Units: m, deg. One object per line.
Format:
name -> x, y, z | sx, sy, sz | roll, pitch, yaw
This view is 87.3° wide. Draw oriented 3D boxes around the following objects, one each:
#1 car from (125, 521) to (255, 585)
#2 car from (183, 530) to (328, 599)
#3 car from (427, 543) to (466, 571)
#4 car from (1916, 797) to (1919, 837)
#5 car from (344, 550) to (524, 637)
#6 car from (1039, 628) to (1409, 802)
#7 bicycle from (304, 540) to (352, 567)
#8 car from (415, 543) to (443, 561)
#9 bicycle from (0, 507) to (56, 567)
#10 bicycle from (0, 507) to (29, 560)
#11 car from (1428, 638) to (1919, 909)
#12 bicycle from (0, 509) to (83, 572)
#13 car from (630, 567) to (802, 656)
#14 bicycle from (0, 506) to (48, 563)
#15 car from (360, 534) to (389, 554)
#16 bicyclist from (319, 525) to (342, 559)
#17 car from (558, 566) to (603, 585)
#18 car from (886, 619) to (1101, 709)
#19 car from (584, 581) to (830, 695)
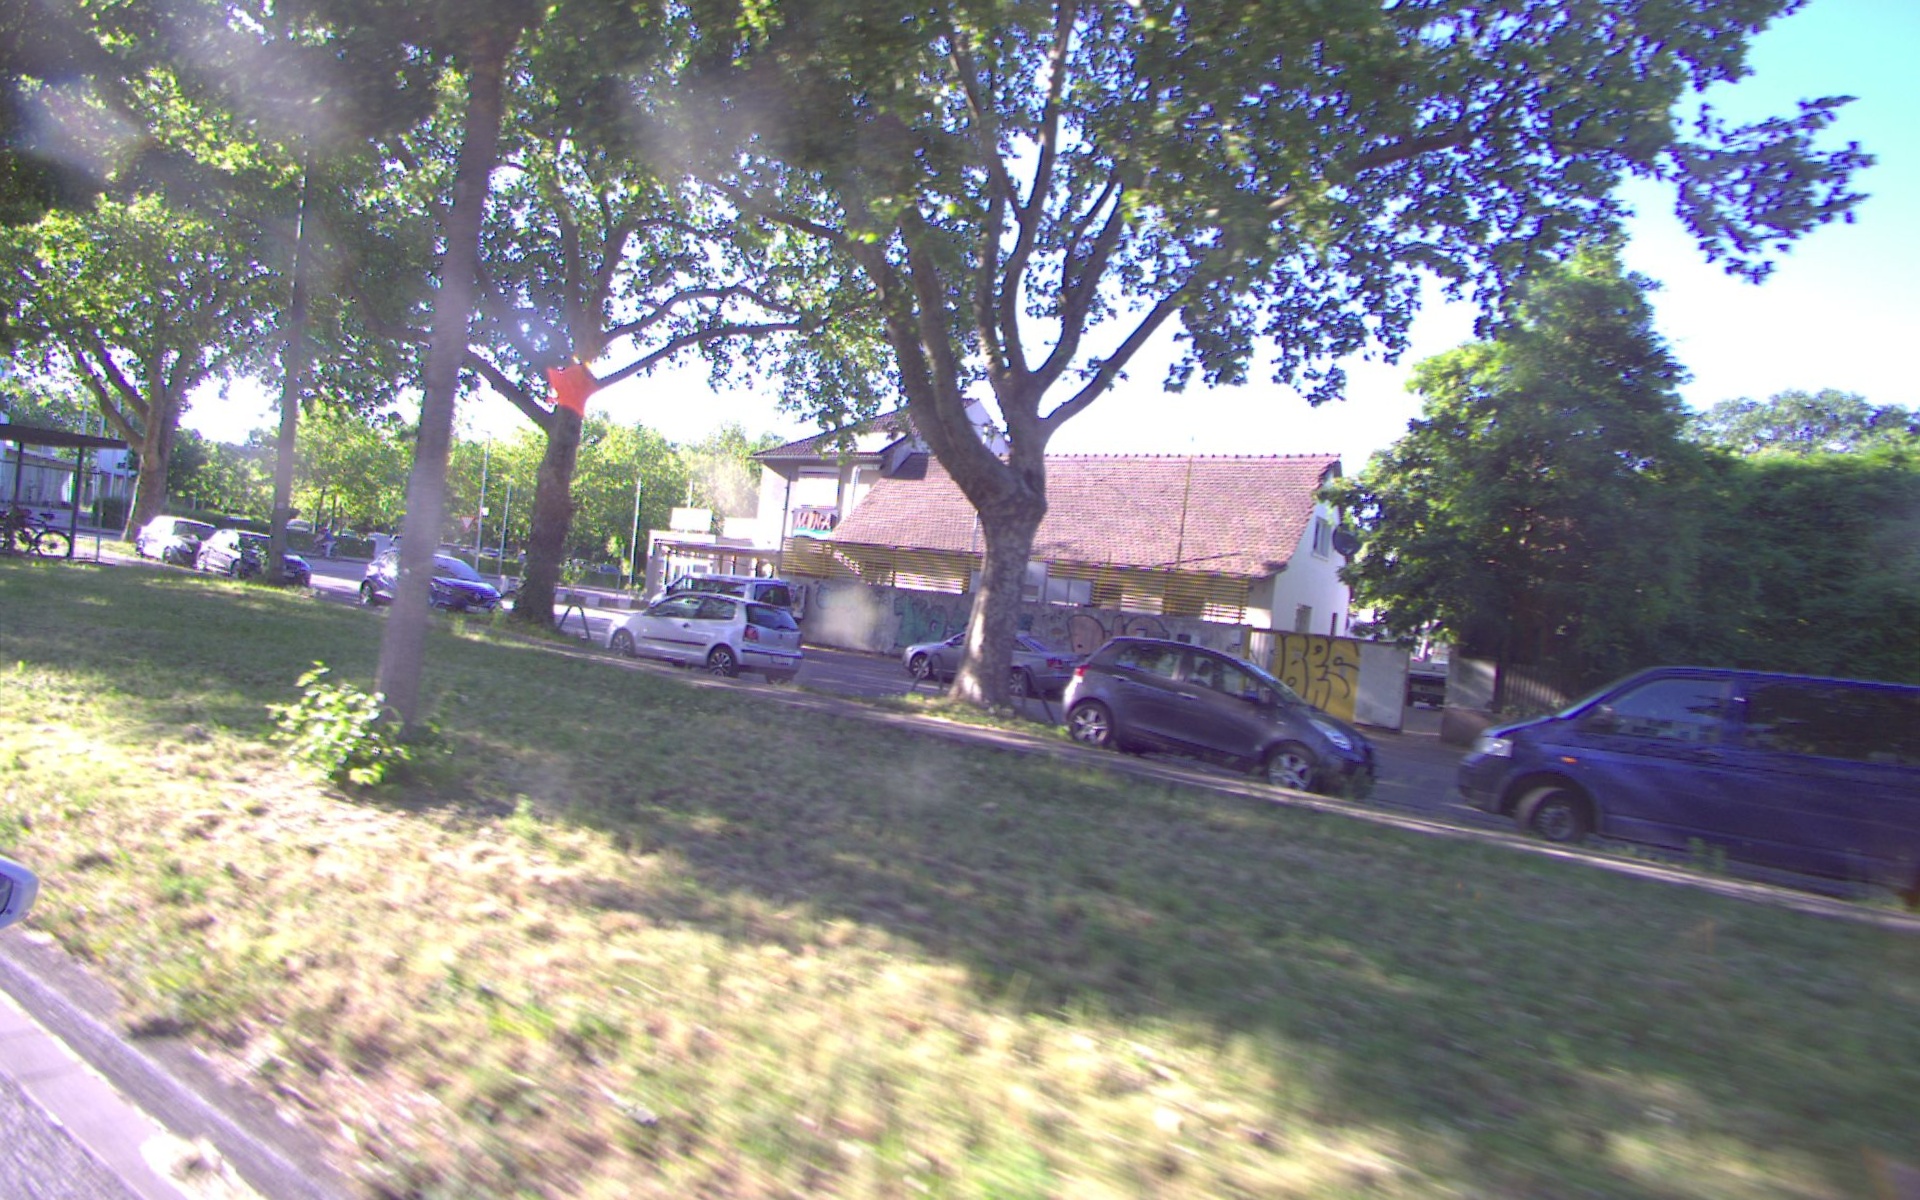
car -> -23.749, -1.460, 31.011 | 3.972, 1.483, 1.896 | 6, -1, 34
car -> -20.073, -1.026, 28.622 | 4.277, 1.428, 1.895 | 6, -1, 34
car -> -34.309, -2.893, 67.123 | 1.979, 1.483, 3.969 | 8, -1, -30
car -> 16.670, 3.099, 13.925 | 4.580, 1.547, 1.995 | 6, -1, 34
car -> -12.402, -0.171, 23.623 | 4.278, 1.506, 1.895 | 6, -1, 35
car -> 3.176, 1.305, 12.257 | 3.850, 1.397, 1.941 | 6, -1, 32
bicycle -> -34.799, -2.544, 55.428 | 2.080, 1.219, 0.547 | 7, 1, -29
car -> -55.517, -5.016, 105.150 | 1.982, 1.483, 3.964 | 8, -1, -34
bicycle -> -21.054, -1.434, 22.030 | 0.542, 1.183, 1.698 | 7, -1, 32
bicycle -> -22.925, -1.647, 23.412 | 0.543, 1.183, 1.695 | 7, -1, 39
car -> 7.351, 1.562, 9.466 | 4.942, 1.762, 2.034 | 6, -1, 35
bicycle -> -20.128, -1.304, 21.580 | 0.542, 1.183, 1.805 | 7, -1, 34
car -> -7.238, 0.310, 29.652 | 4.988, 2.063, 1.894 | 6, 1, 33
bicycle -> -21.957, -1.553, 22.826 | 0.542, 1.183, 1.698 | 7, -1, 33
car -> -54.333, -5.194, 93.377 | 1.982, 1.483, 3.964 | 8, -1, -34
bicyclist -> -34.673, -3.203, 55.431 | 0.867, 1.759, 0.826 | 6, 1, -28
car -> -41.114, -2.651, 109.088 | 1.968, 1.482, 3.992 | 7, -1, 34
car -> 0.728, 1.514, 24.251 | 4.837, 1.503, 1.895 | 6, -1, 36
car -> -4.563, 0.672, 18.049 | 3.982, 1.503, 1.897 | 6, -1, 31
